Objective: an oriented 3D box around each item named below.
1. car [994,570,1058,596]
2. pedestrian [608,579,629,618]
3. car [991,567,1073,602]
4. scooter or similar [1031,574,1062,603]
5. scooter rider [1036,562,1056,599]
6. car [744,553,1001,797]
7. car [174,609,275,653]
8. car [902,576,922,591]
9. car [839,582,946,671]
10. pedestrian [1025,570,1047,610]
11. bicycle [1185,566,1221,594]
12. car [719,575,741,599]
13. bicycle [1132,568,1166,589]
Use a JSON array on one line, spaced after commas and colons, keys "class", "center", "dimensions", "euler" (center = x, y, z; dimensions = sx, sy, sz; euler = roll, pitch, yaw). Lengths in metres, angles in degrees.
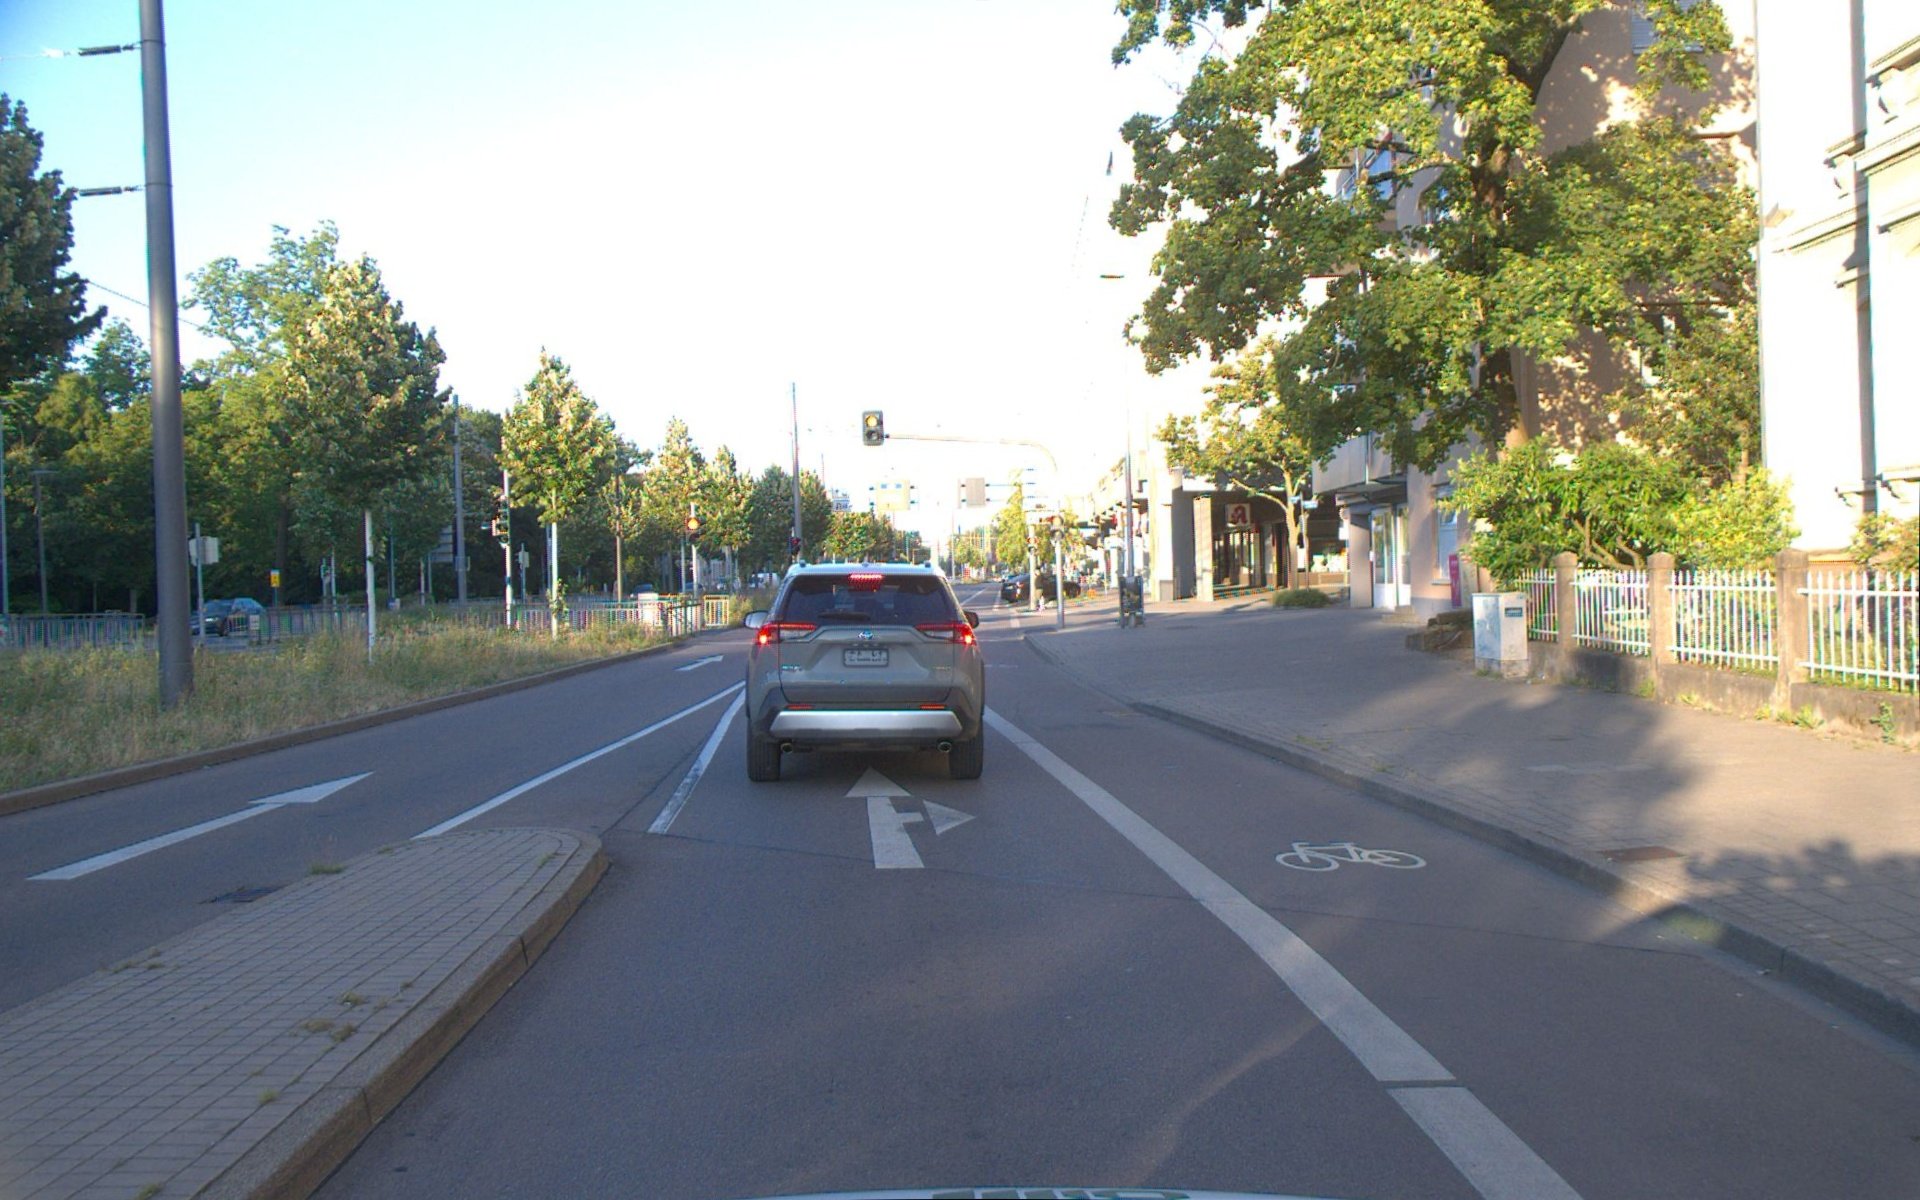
[{"class": "car", "center": [4.602, -1.210, 114.582], "dimensions": [4.220, 1.687, 1.837], "euler": [-2, 2, -36]}, {"class": "pedestrian", "center": [-15.874, -0.074, 76.849], "dimensions": [0.818, 1.741, 0.647], "euler": [-2, 1, -2]}, {"class": "car", "center": [3.757, -0.835, 85.949], "dimensions": [4.235, 1.687, 1.831], "euler": [-2, 3, -43]}, {"class": "scooter or similar", "center": [3.726, -0.501, 71.225], "dimensions": [1.301, 1.173, 0.514], "euler": [-2, 1, 1]}, {"class": "scooter rider", "center": [3.689, -0.836, 71.227], "dimensions": [0.803, 1.540, 0.653], "euler": [-2, 1, 2]}, {"class": "car", "center": [-0.754, 0.476, 13.962], "dimensions": [1.818, 1.687, 4.266], "euler": [-1, 2, -4]}, {"class": "car", "center": [-29.151, 1.196, 65.728], "dimensions": [1.892, 1.507, 4.524], "euler": [0, 2, 1]}, {"class": "car", "center": [-5.111, -1.781, 176.200], "dimensions": [1.938, 1.458, 4.843], "euler": [0, 2, -1]}, {"class": "car", "center": [-1.401, 0.456, 32.602], "dimensions": [1.894, 1.507, 4.518], "euler": [-1, 2, -5]}, {"class": "pedestrian", "center": [3.164, -0.415, 68.953], "dimensions": [0.818, 1.614, 0.811], "euler": [-2, 1, -3]}, {"class": "bicycle", "center": [10.417, -0.842, 70.879], "dimensions": [0.678, 1.169, 2.012], "euler": [1, 0, -19]}, {"class": "car", "center": [-22.055, -1.270, 158.960], "dimensions": [1.955, 2.205, 4.745], "euler": [-1, 2, -7]}, {"class": "bicycle", "center": [11.275, -1.276, 98.522], "dimensions": [1.973, 1.169, 0.691], "euler": [1, 0, 6]}]
